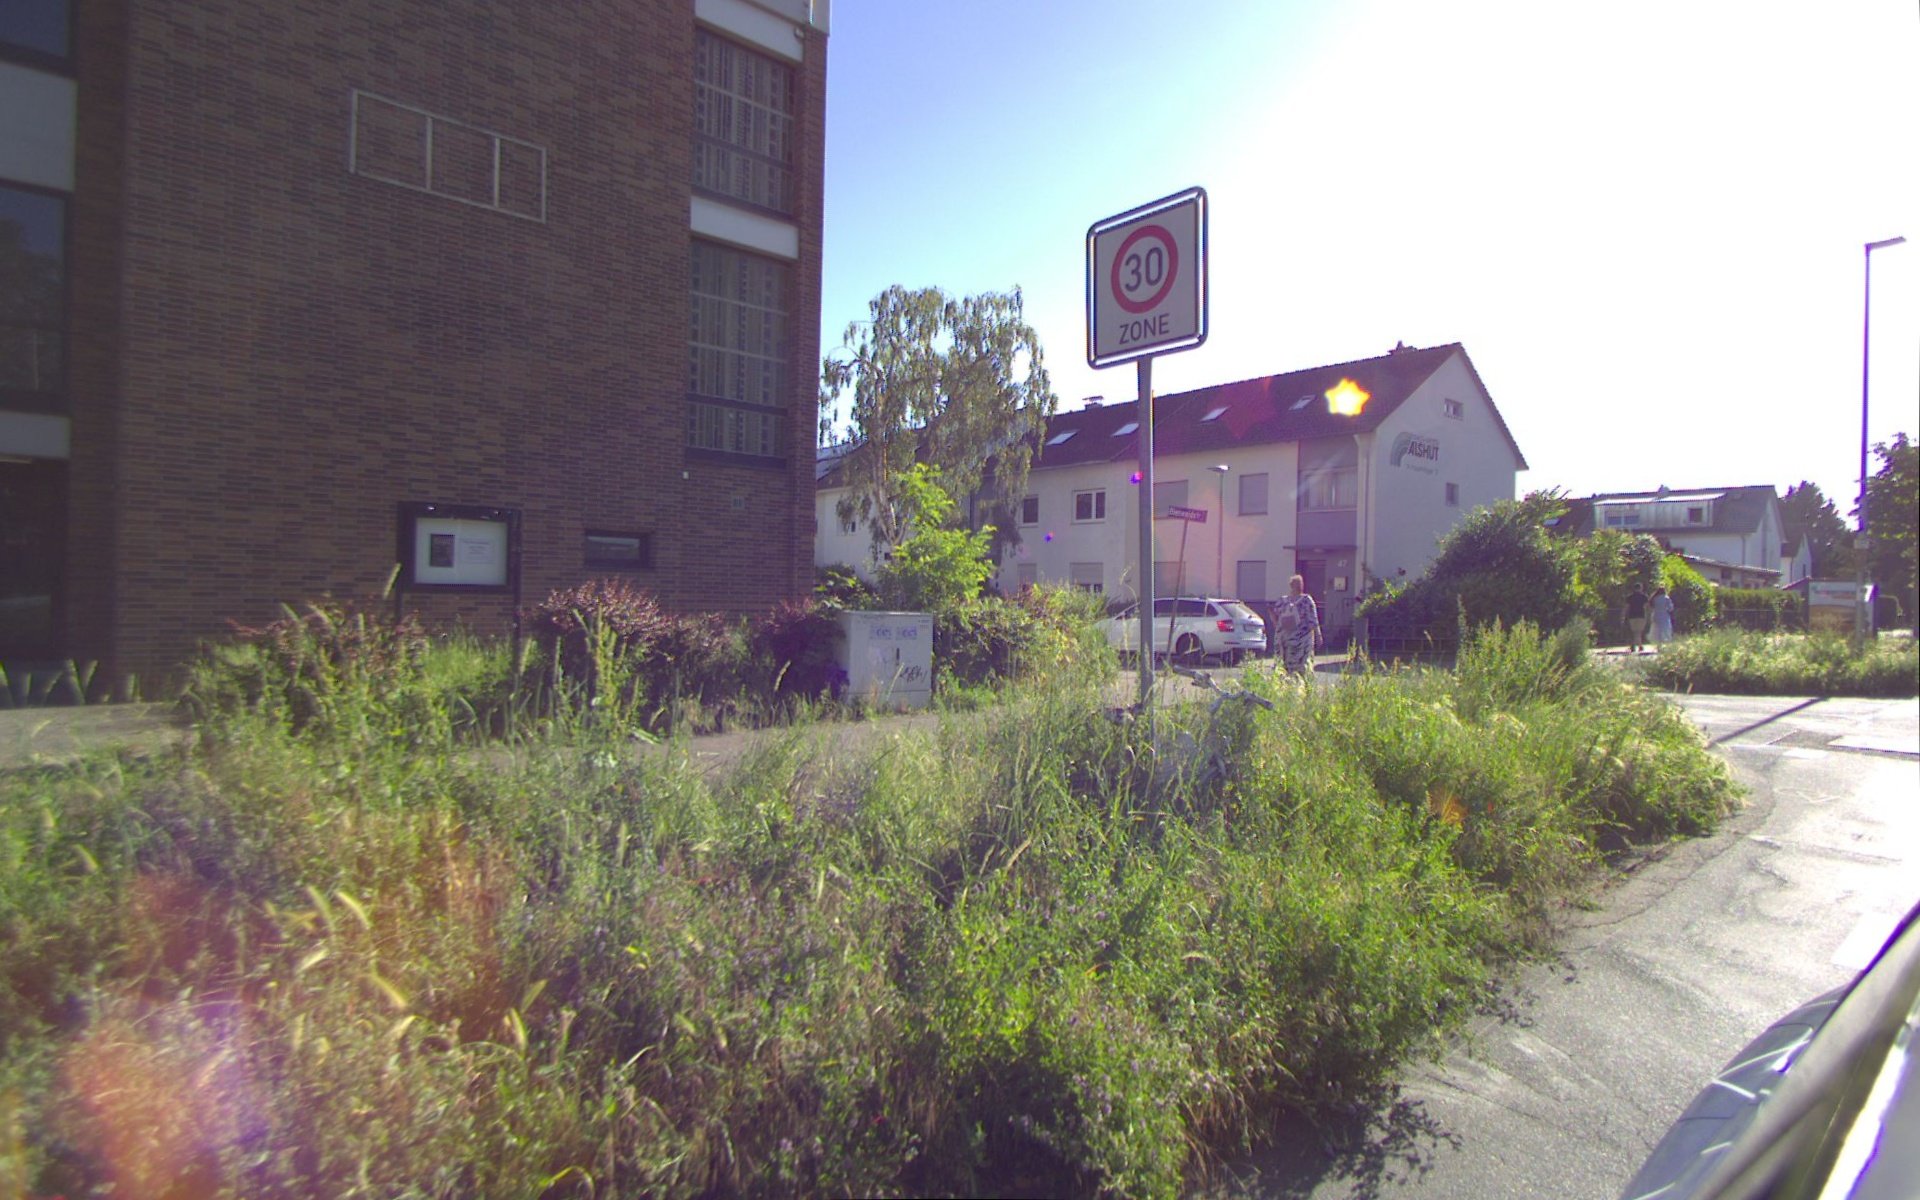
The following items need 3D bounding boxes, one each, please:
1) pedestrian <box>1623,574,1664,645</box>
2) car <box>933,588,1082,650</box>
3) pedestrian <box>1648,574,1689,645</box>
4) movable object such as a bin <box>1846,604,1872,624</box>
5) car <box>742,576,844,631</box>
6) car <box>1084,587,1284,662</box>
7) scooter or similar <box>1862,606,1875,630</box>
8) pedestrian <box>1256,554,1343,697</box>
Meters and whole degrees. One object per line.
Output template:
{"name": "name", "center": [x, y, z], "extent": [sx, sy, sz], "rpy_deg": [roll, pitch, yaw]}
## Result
{"name": "pedestrian", "center": [17.310, 0.235, 25.628], "extent": [0.626, 1.754, 0.608], "rpy_deg": [0, -1, -24]}
{"name": "car", "center": [1.210, 0.471, 27.172], "extent": [1.774, 1.521, 3.950], "rpy_deg": [2, -1, -40]}
{"name": "pedestrian", "center": [17.558, 0.233, 25.080], "extent": [0.647, 1.755, 0.557], "rpy_deg": [0, -1, -24]}
{"name": "movable object such as a bin", "center": [59.468, 0.918, 66.919], "extent": [0.912, 1.310, 1.171], "rpy_deg": [0, 2, -41]}
{"name": "car", "center": [-5.934, 0.117, 35.747], "extent": [1.774, 1.816, 3.950], "rpy_deg": [2, -1, -40]}
{"name": "car", "center": [4.974, 0.494, 22.905], "extent": [1.774, 1.521, 4.202], "rpy_deg": [2, -1, -40]}
{"name": "scooter or similar", "center": [51.093, 0.984, 56.916], "extent": [0.454, 1.311, 0.502], "rpy_deg": [0, 1, -44]}
{"name": "pedestrian", "center": [4.594, 0.329, 13.697], "extent": [0.899, 1.845, 0.724], "rpy_deg": [-1, -1, 44]}
